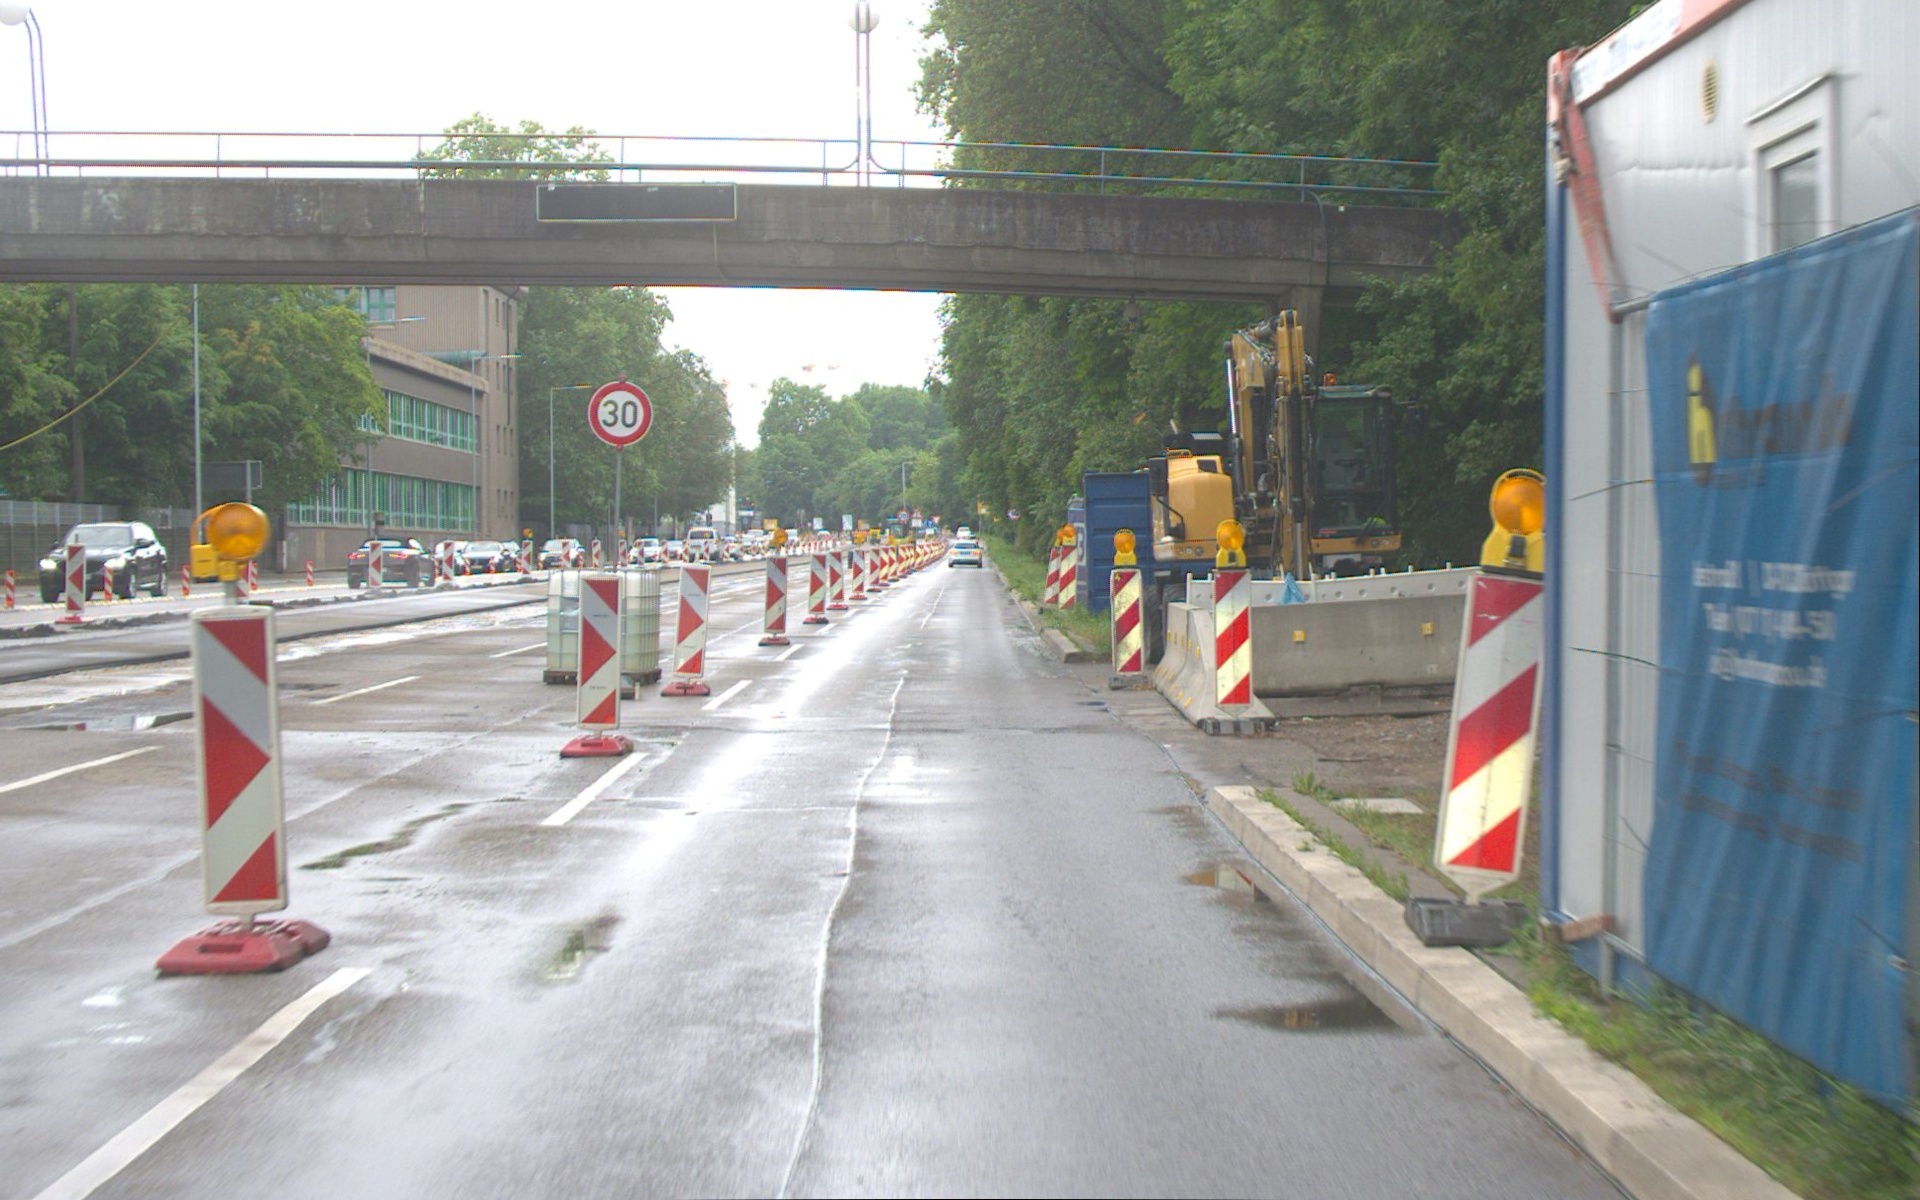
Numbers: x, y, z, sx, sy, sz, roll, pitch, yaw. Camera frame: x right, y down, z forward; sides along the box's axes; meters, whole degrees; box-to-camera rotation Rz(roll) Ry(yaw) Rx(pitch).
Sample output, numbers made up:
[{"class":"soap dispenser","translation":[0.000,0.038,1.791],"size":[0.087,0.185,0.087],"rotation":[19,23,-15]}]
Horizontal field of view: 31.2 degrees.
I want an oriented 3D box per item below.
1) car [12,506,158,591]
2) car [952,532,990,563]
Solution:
[{"class":"car","translation":[-19.328,-1.134,76.104],"size":[1.971,1.800,4.608],"rotation":[-1,1,1]},{"class":"car","translation":[0.564,-2.824,185.929],"size":[1.993,1.634,4.000],"rotation":[-1,1,0]}]
